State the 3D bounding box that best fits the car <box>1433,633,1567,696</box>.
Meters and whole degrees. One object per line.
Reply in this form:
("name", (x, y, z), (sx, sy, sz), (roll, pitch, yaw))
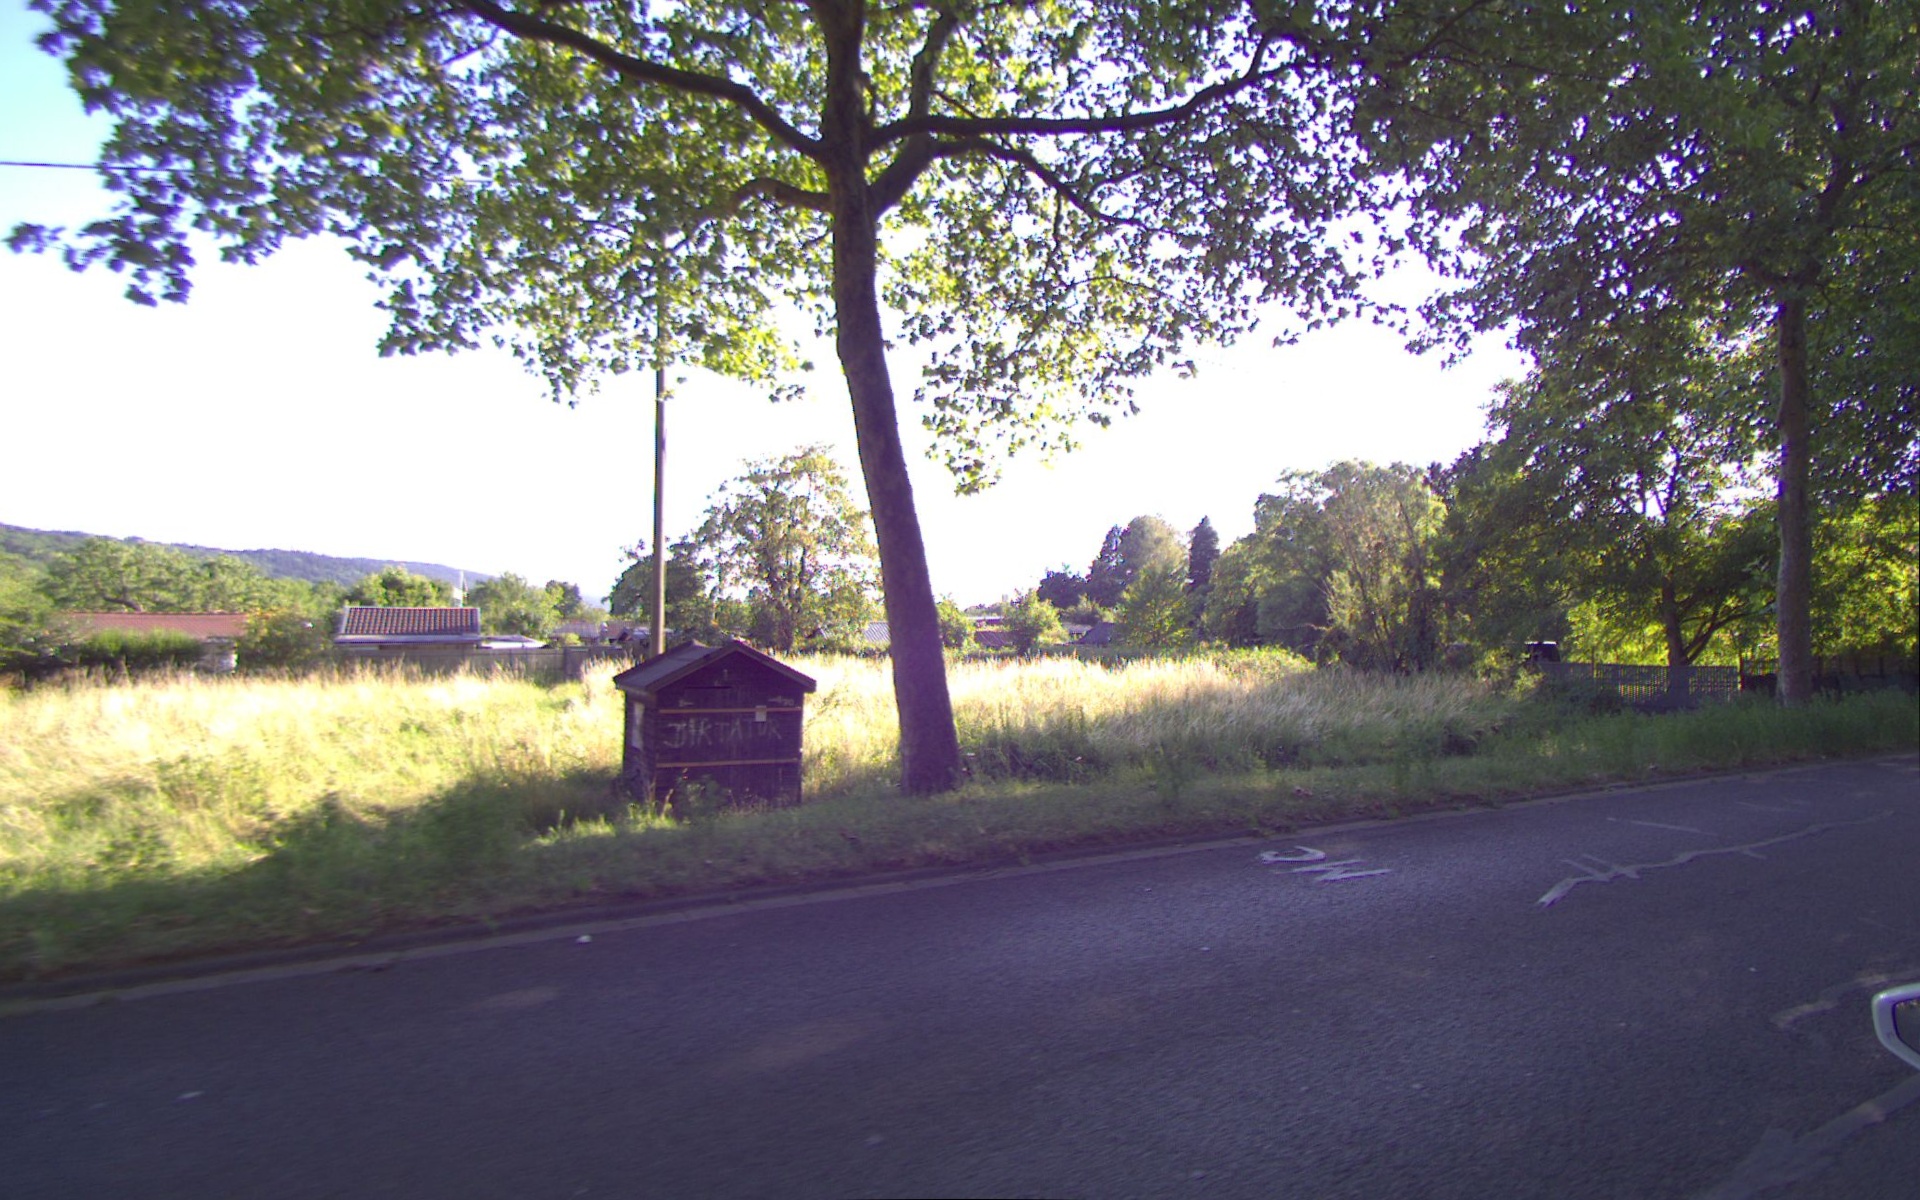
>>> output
("car", (19.470, 2.295, 36.391), (1.969, 2.040, 3.983), (2, -1, -19))
